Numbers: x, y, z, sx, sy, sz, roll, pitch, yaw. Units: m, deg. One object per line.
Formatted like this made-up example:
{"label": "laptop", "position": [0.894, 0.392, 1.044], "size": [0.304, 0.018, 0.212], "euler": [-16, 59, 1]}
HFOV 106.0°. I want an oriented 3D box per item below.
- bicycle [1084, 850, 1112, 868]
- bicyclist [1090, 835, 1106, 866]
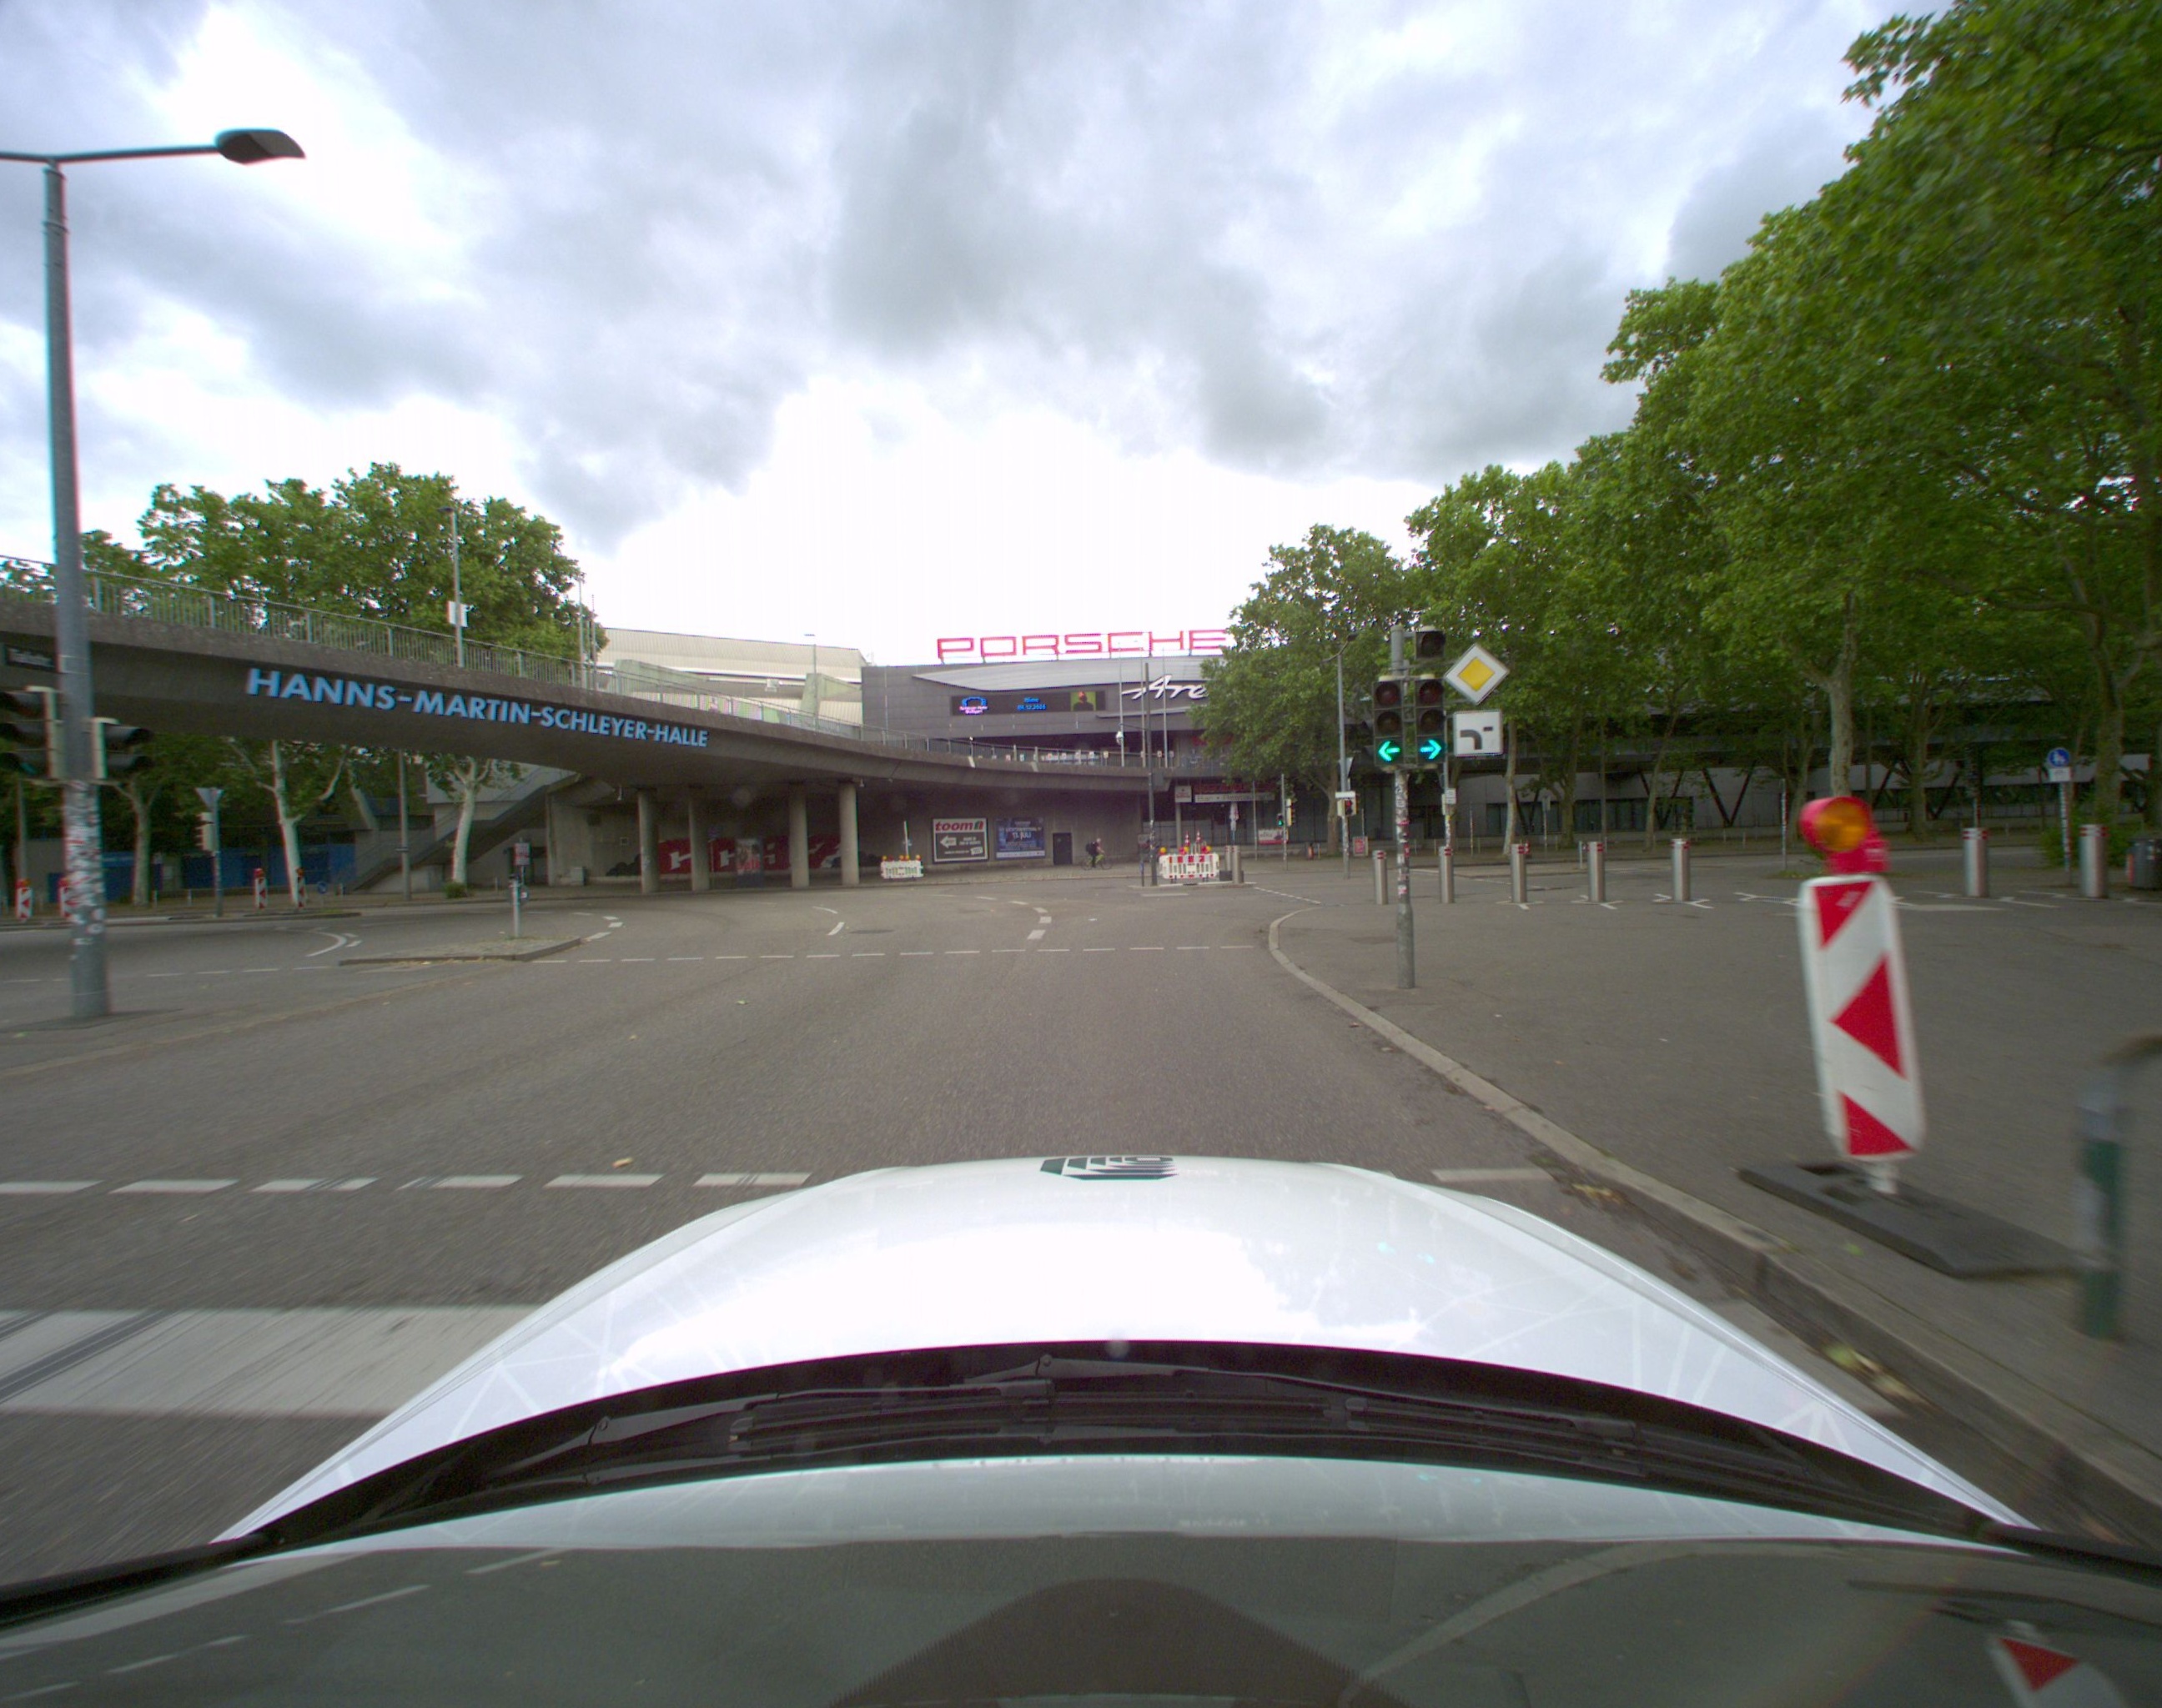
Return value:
{"label": "bicycle", "position": [0.945, 0.296, 45.664], "size": [1.529, 1.013, 0.516], "euler": [0, 0, -3]}
{"label": "bicyclist", "position": [0.937, -0.210, 45.671], "size": [0.849, 1.697, 0.766], "euler": [0, 0, -2]}
